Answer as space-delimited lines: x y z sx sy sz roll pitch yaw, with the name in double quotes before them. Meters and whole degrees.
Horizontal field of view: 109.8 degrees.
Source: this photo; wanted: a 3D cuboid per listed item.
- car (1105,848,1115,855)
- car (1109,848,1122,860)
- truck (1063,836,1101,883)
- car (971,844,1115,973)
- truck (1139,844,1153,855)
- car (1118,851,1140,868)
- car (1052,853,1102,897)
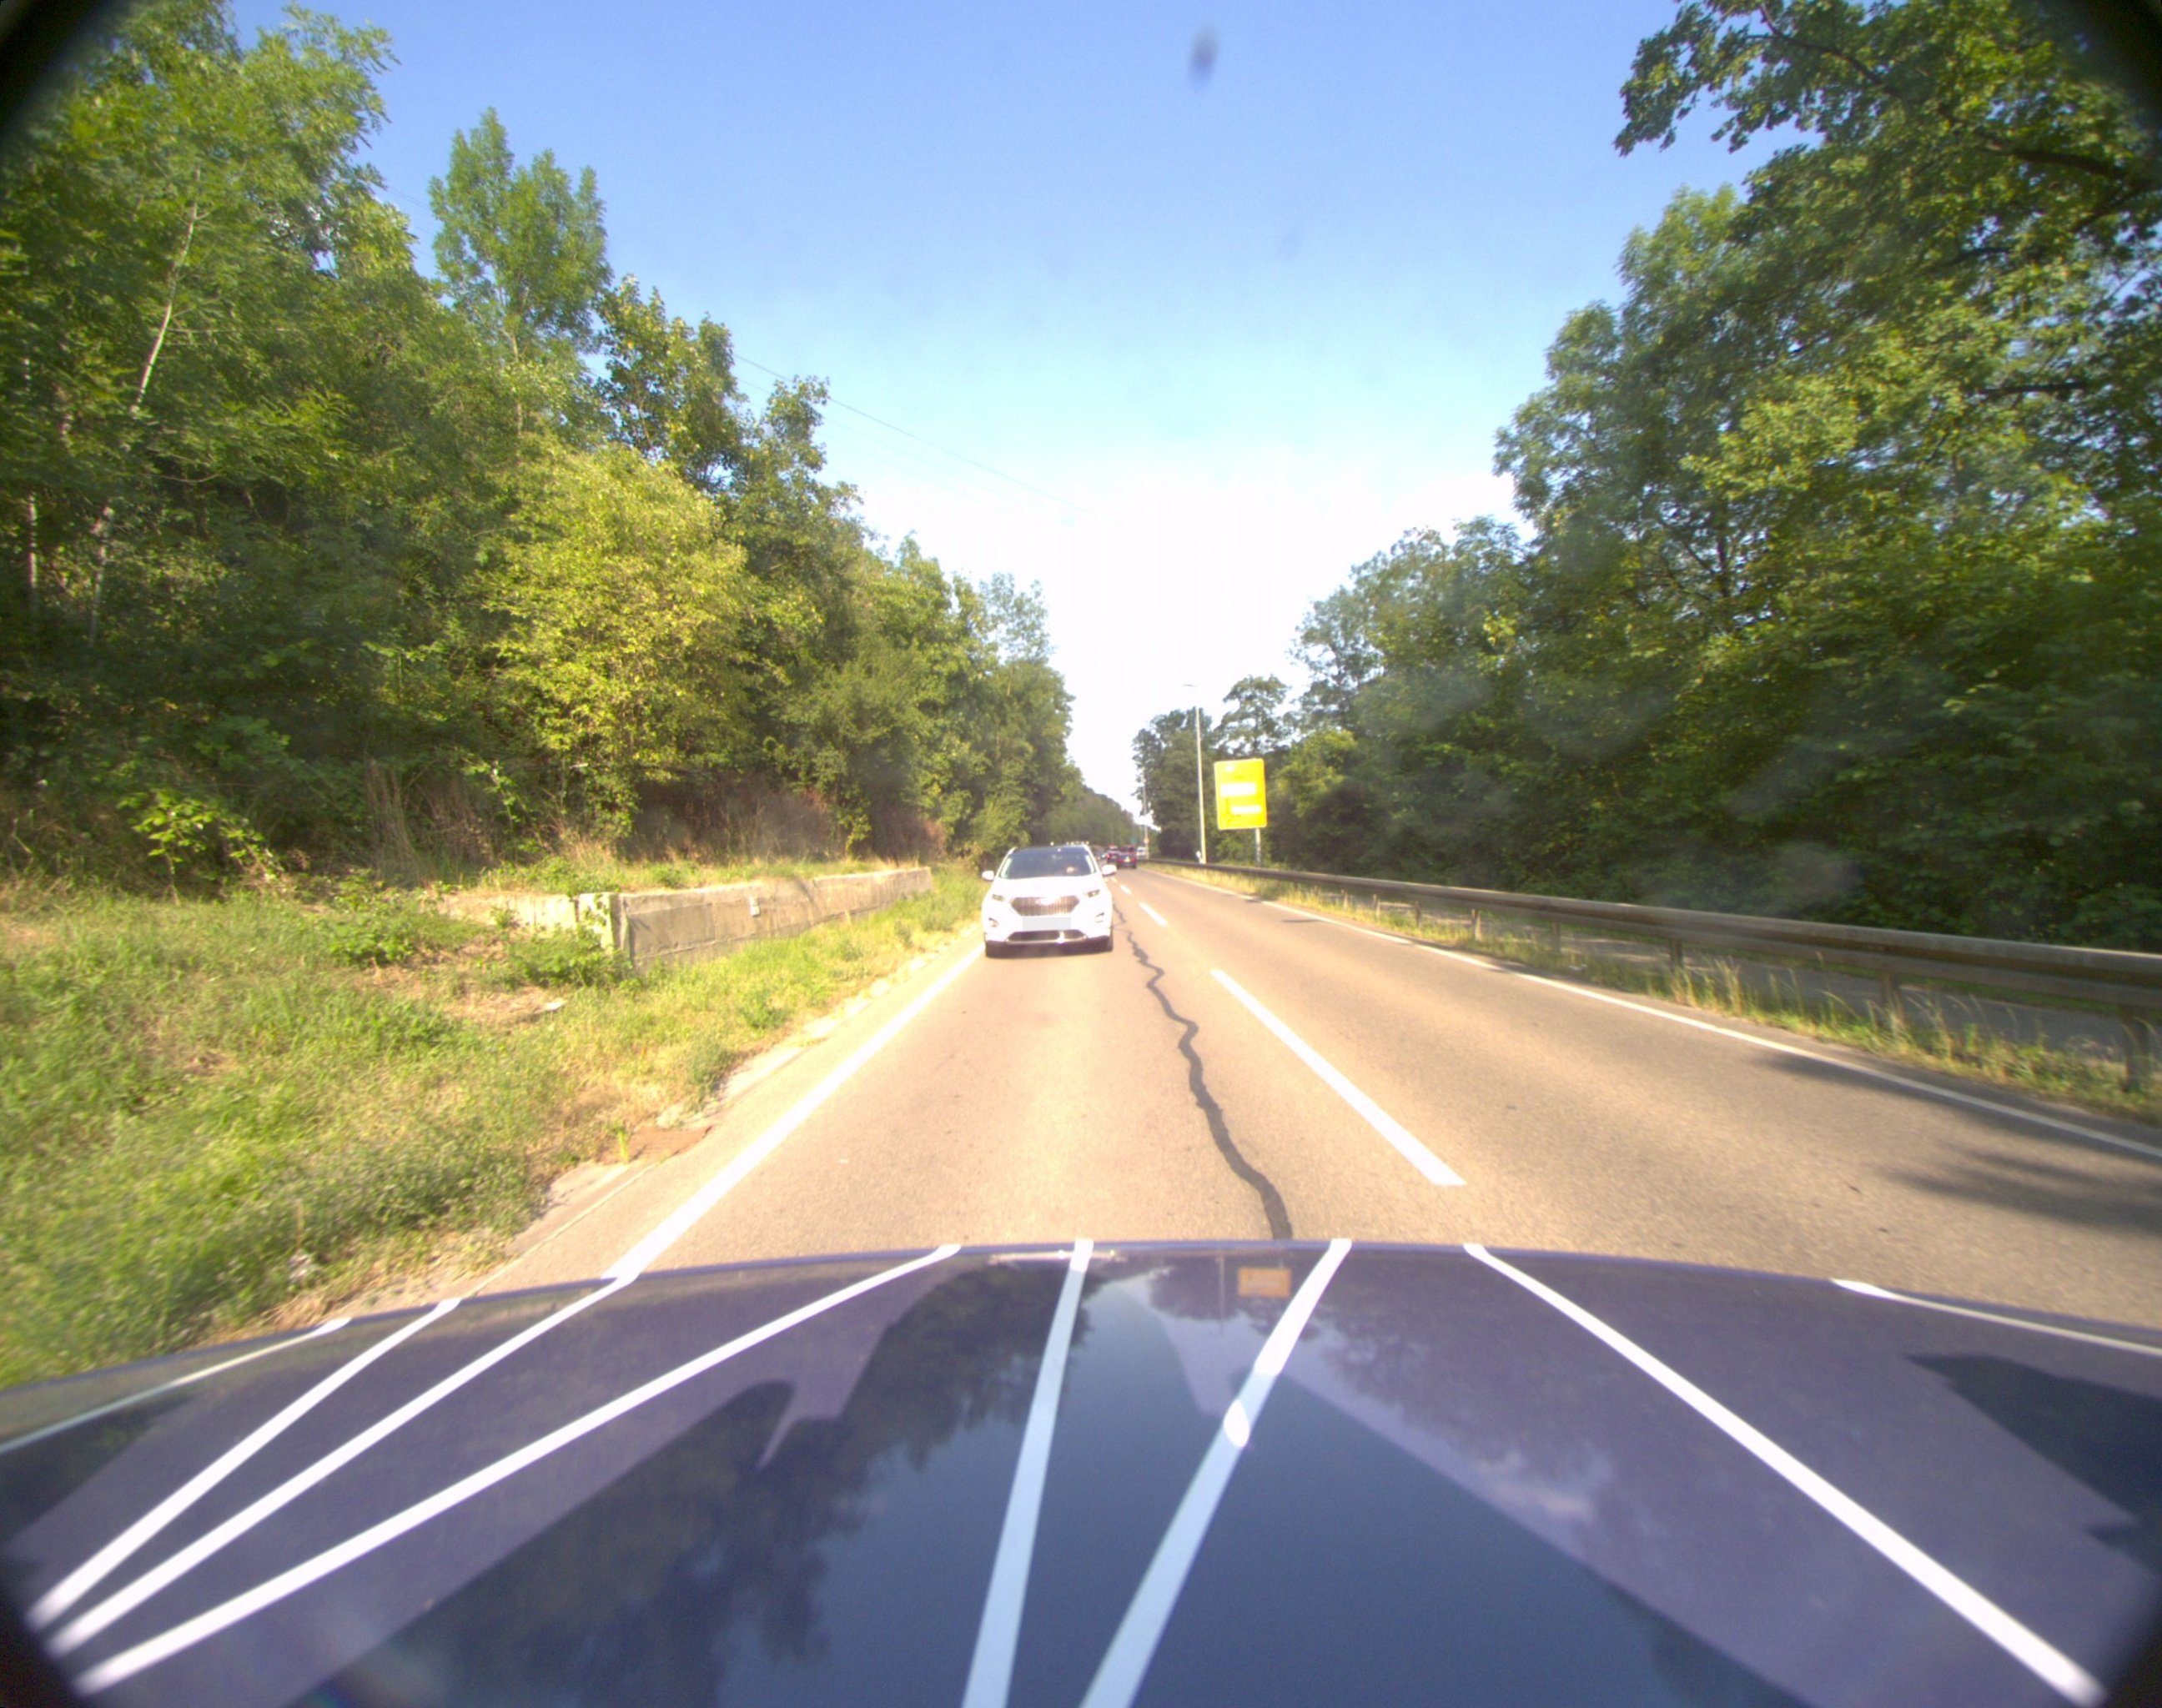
"car" 6.883 -0.567 178.773 1.997 1.647 4.002 -1 0 8
"car" 4.772 -0.026 106.474 1.752 1.707 4.221 -2 0 2
"truck" 0.074 0.270 42.165 1.894 2.334 5.273 -3 0 1
"car" -0.493 0.737 12.500 1.894 1.691 4.136 -3 0 1
"truck" 15.042 -1.066 176.732 2.060 2.371 5.878 -3 1 16
"car" 4.264 0.435 67.729 1.696 1.412 4.141 -2 1 1
"car" -0.118 0.730 29.168 1.704 1.477 4.136 -3 0 1
